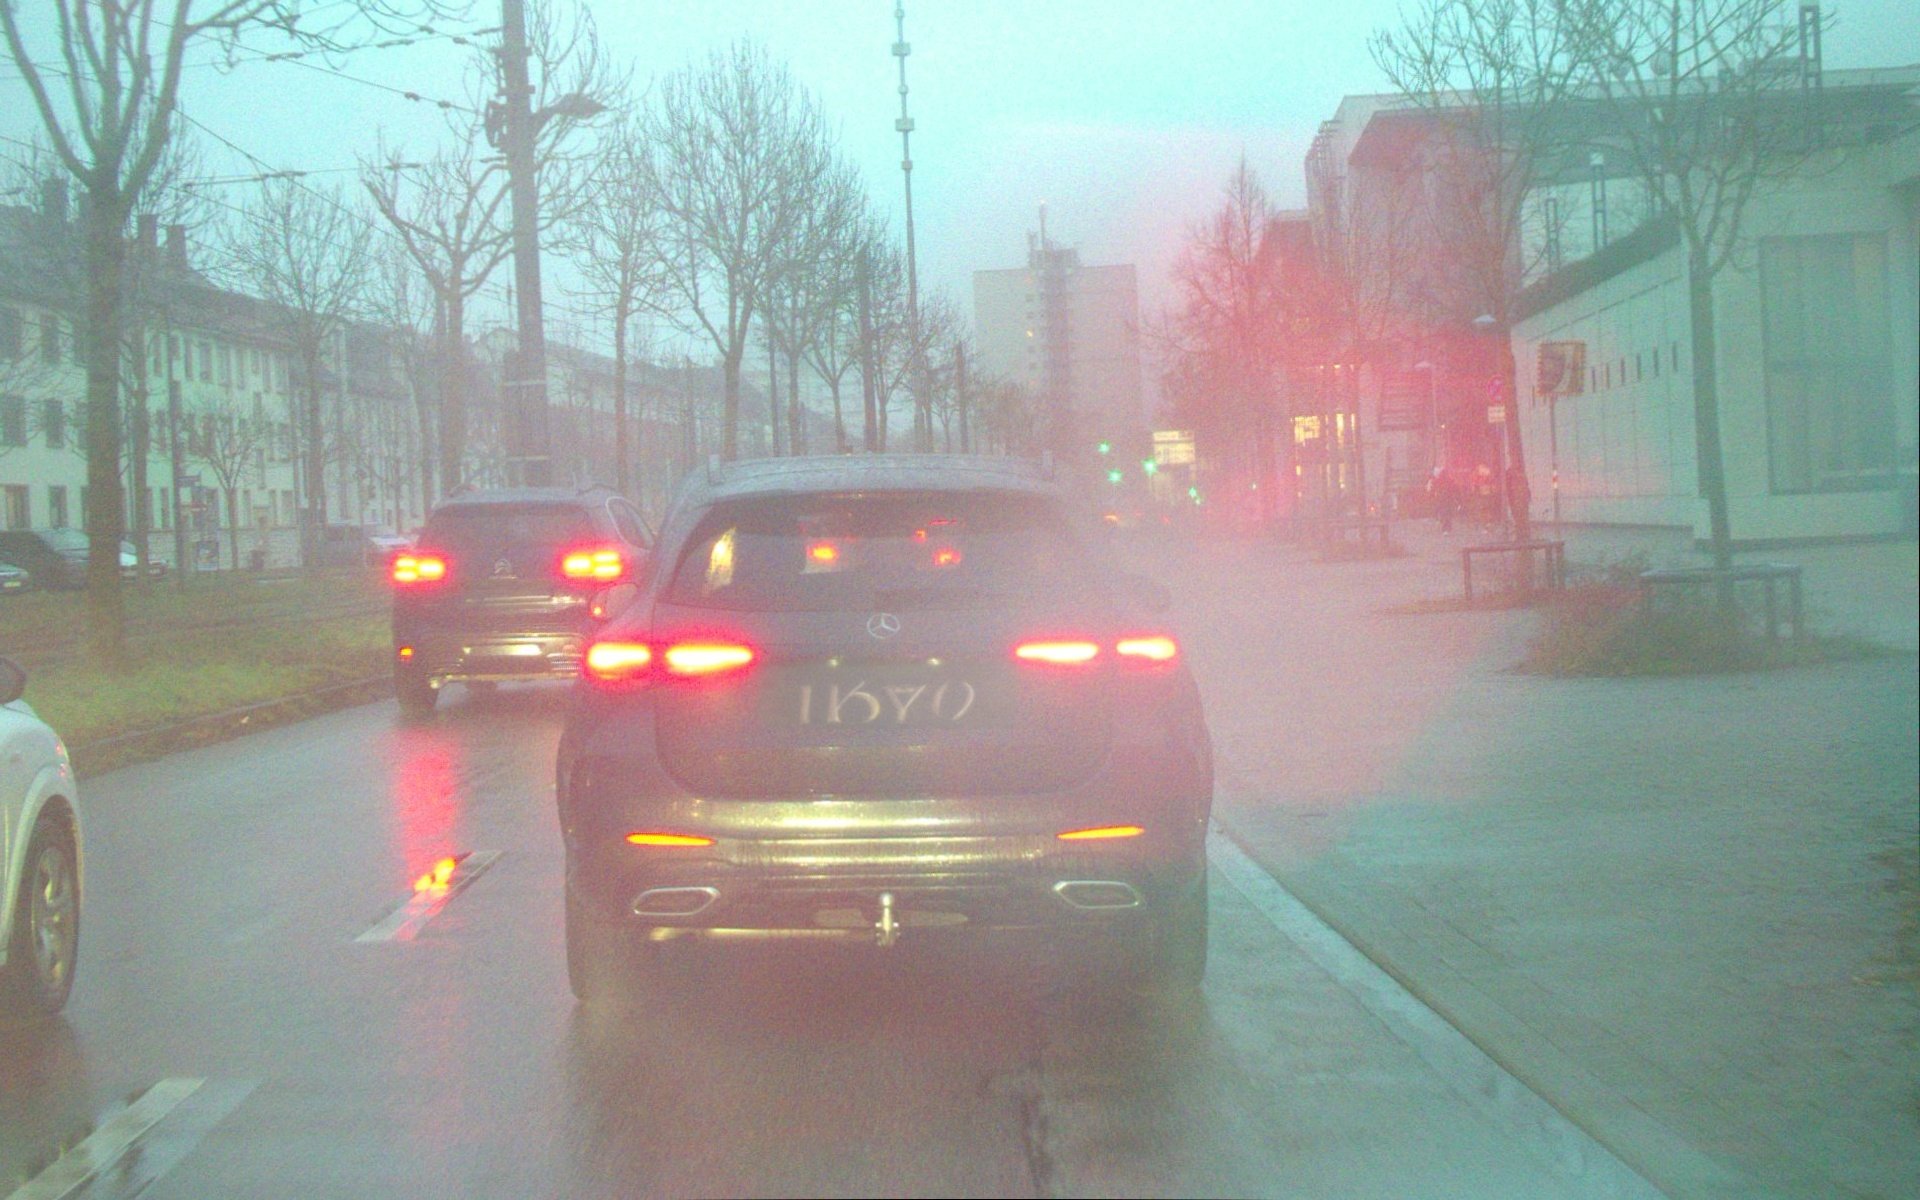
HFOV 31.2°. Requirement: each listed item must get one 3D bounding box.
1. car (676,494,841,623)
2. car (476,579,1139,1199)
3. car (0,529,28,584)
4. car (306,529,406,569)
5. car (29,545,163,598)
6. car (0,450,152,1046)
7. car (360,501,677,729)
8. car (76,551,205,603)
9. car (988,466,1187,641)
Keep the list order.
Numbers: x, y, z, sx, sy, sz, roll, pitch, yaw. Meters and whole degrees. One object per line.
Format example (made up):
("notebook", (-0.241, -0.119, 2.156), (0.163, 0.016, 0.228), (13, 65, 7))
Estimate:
("car", (-2.625, -0.584, 45.549), (1.672, 1.594, 4.053), (-1, 1, 3))
("car", (-0.297, 0.793, 11.025), (1.672, 1.594, 4.053), (-1, 1, 3))
("car", (-25.464, -1.026, 86.937), (3.552, 1.349, 1.778), (-1, 2, 37))
("car", (-23.198, -1.962, 131.968), (3.552, 1.349, 1.778), (-1, 2, 37))
("car", (-24.530, -0.802, 97.582), (3.552, 1.349, 1.778), (-1, 2, 37))
("car", (-3.439, 0.428, 8.660), (1.672, 1.594, 4.053), (-1, 1, 2))
("car", (-3.336, 0.054, 26.675), (1.672, 1.594, 4.053), (-1, 1, 3))
("car", (-24.213, -0.675, 101.519), (3.552, 1.349, 1.778), (-1, 2, 37))
("car", (1.447, -0.537, 37.684), (1.994, 1.738, 4.000), (-2, 1, 4))
